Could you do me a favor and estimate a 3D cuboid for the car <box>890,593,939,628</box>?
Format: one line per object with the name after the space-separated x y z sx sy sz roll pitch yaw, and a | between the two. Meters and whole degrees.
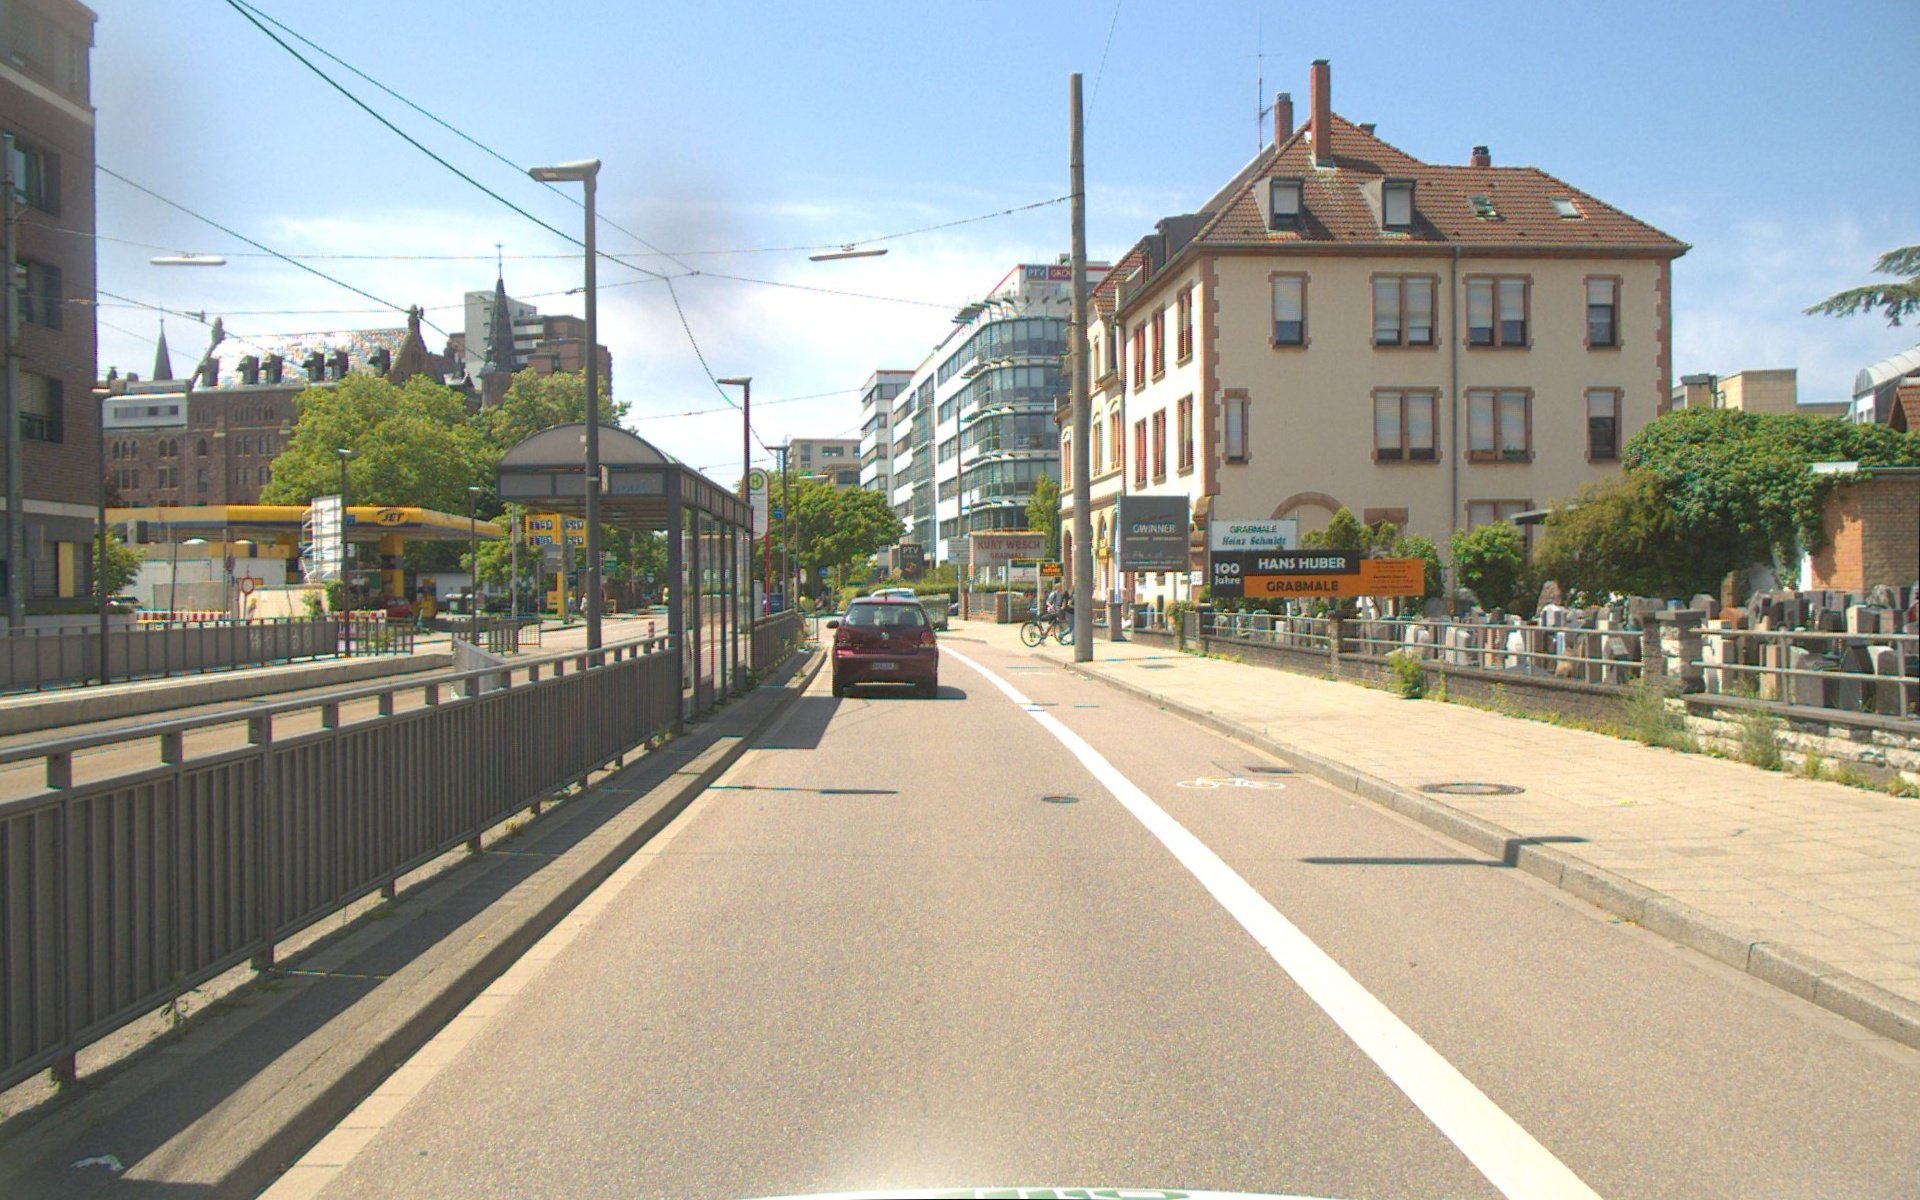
-2.212 0.507 79.654 1.740 1.575 4.458 -3 0 -9 | car

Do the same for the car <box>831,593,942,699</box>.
-1.098 0.657 25.883 1.586 1.512 3.999 0 0 -1 | car

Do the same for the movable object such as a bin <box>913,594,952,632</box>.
-1.136 0.548 68.284 1.368 1.480 1.136 -3 1 -13 | movable object such as a bin

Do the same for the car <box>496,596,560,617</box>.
-31.155 0.469 119.303 1.893 1.514 4.442 1 0 30 | car

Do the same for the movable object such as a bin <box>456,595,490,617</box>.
-34.803 0.419 118.200 1.488 1.536 2.101 1 0 15 | movable object such as a bin

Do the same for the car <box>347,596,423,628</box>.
-30.182 0.601 86.898 1.787 1.531 4.203 1 2 14 | car

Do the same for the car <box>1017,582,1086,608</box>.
5.702 -0.313 103.366 4.068 1.485 1.816 -1 0 -6 | car

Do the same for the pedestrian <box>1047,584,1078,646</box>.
2.878 0.417 46.424 0.806 1.720 0.589 -1 0 6 | pedestrian

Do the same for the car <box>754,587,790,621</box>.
-11.808 0.249 103.697 1.957 2.049 3.991 0 0 -10 | car

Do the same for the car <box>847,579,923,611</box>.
-4.627 -0.310 101.272 4.455 1.831 1.996 -1 0 -10 | car

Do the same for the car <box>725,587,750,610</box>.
-18.012 -0.128 133.920 1.957 1.769 3.992 -1 0 -9 | car

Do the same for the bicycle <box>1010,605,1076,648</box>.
2.381 0.756 47.355 1.764 1.147 0.590 -3 0 19 | bicycle

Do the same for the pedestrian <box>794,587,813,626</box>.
-7.982 0.341 84.521 0.770 1.994 0.585 -1 0 -24 | pedestrian

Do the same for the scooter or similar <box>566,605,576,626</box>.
-22.056 0.875 93.826 0.509 1.221 1.373 0 0 -12 | scooter or similar

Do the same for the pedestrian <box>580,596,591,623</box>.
-24.054 0.595 106.191 0.614 1.720 0.719 -1 0 -14 | pedestrian

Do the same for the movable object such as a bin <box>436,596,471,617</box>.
-36.314 0.464 118.662 1.488 1.457 2.101 1 0 15 | movable object such as a bin

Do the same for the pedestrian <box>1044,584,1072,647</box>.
2.816 0.435 47.685 0.673 1.803 0.503 -1 0 20 | pedestrian

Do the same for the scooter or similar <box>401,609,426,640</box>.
-22.885 1.022 69.245 0.337 1.286 1.243 0 0 15 | scooter or similar
